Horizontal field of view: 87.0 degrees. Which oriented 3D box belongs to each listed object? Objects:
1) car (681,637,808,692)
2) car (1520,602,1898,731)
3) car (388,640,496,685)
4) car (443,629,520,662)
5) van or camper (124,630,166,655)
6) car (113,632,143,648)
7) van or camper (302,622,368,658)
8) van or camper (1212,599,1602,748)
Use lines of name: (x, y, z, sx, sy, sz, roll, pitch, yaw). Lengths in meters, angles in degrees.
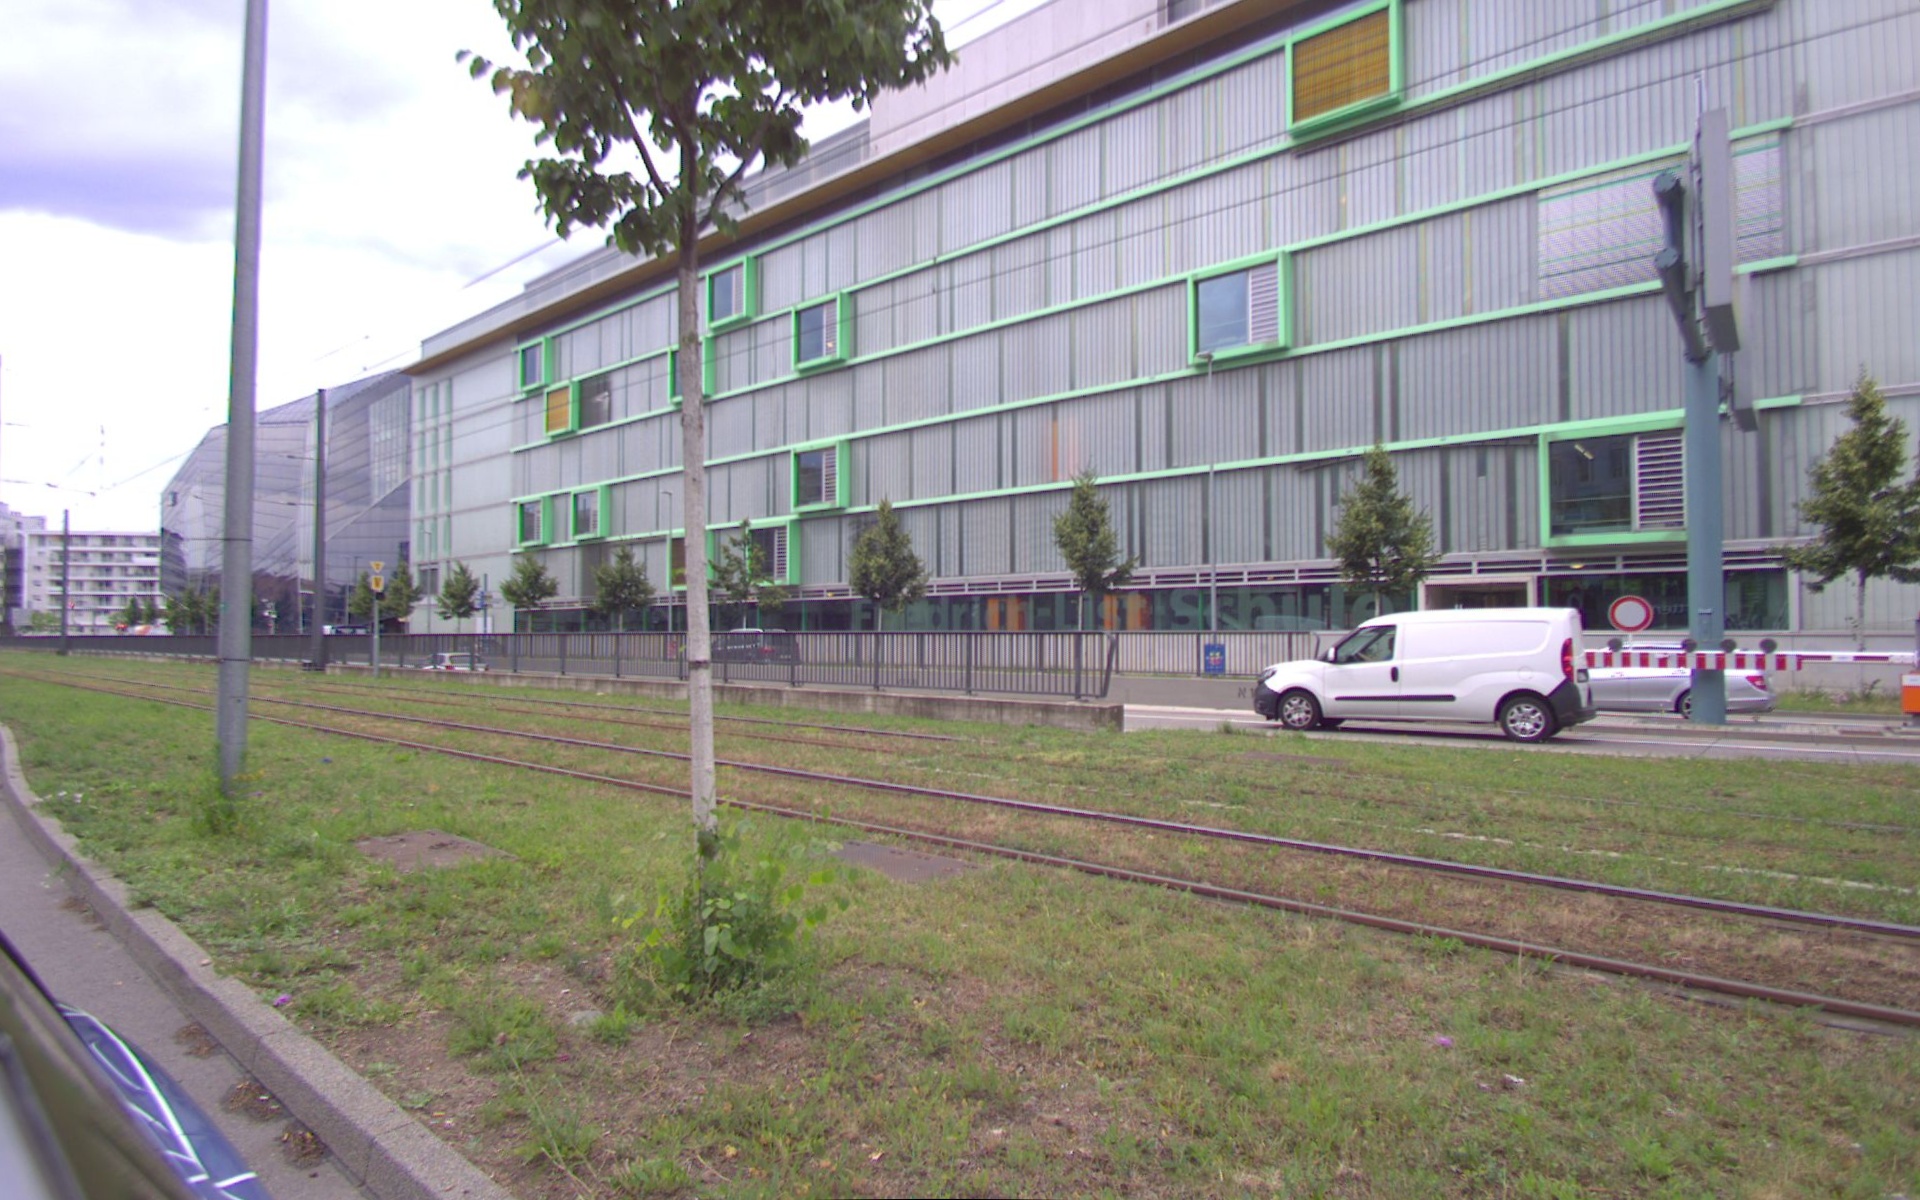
car: (-7.879, 2.282, 36.711, 4.965, 1.837, 1.972, -2, -3, 42)
car: (13.431, 1.131, 18.471, 5.292, 2.029, 1.972, -2, -3, 42)
car: (-18.612, 2.200, 36.291, 4.568, 1.490, 1.744, -2, -3, 40)
car: (-25.058, 2.353, 52.900, 4.645, 1.679, 1.972, -2, -3, 42)
van or camper: (-78.427, 4.065, 97.381, 6.503, 2.304, 2.150, -3, -2, 42)
car: (-93.068, 4.513, 113.207, 4.766, 1.605, 1.972, -5, -4, 43)
van or camper: (-40.793, 2.614, 66.022, 5.356, 2.304, 2.150, -2, -3, 41)
van or camper: (6.616, 1.040, 15.339, 5.115, 1.915, 1.871, -2, -3, 37)
